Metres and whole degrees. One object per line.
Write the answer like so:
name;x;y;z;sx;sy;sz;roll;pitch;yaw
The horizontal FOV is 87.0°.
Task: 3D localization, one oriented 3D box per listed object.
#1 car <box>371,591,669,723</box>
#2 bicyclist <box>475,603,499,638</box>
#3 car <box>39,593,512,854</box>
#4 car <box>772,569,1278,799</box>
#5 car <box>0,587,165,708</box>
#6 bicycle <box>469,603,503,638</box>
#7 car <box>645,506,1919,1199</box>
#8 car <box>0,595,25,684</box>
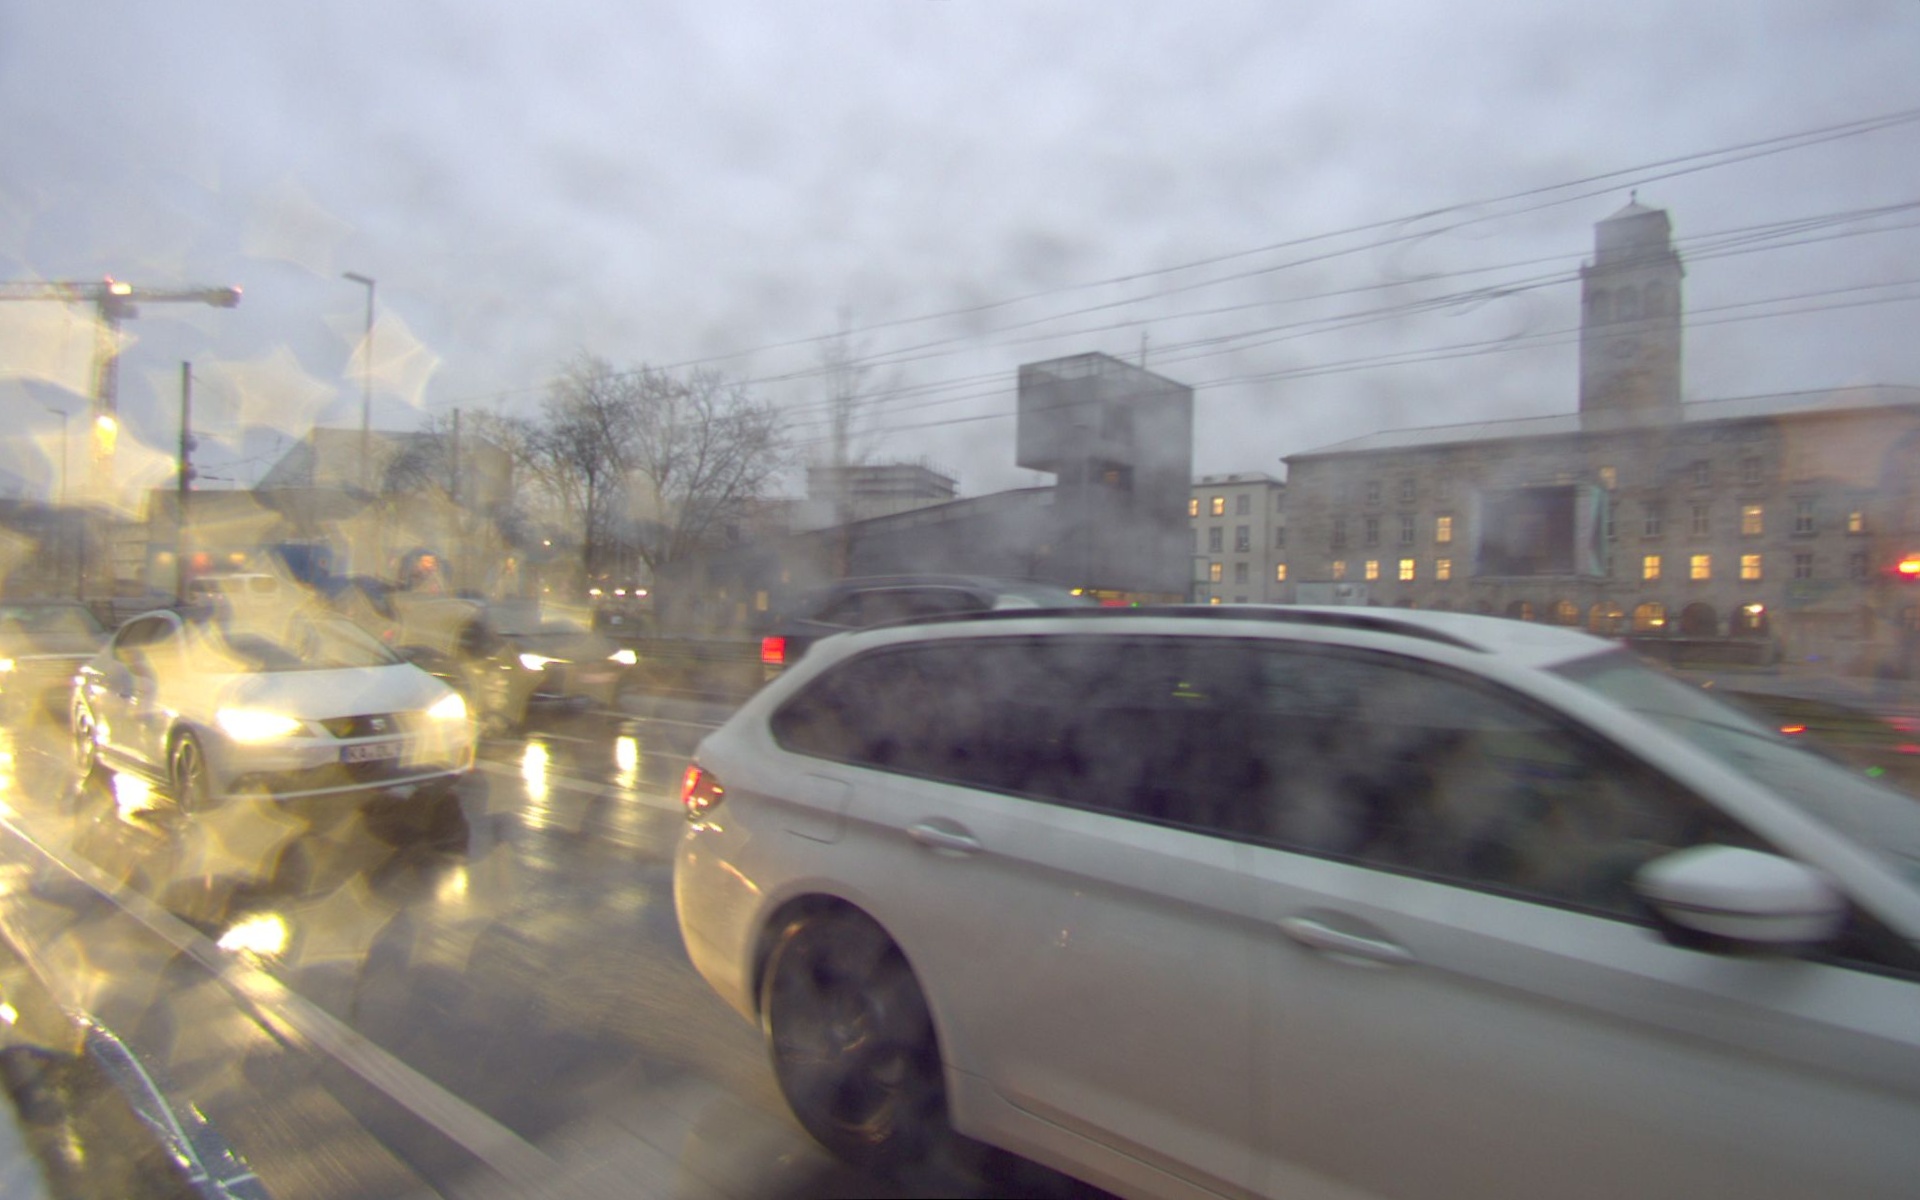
car;-6.234;0.673;14.095;4.658;1.519;1.831;1;0;38
bicyclist;-24.704;1.064;52.852;0.960;1.746;0.754;2;1;37
car;-5.589;0.700;8.031;4.501;1.498;1.925;0;1;39
car;0.423;0.568;9.187;4.288;1.596;1.946;1;0;41
car;-13.281;0.593;14.491;4.500;1.498;1.974;0;-1;38
bicycle;-24.767;1.061;52.905;2.061;1.746;0.754;2;1;38
car;1.435;0.649;2.400;4.556;1.498;1.997;0;-1;40
car;-19.213;0.698;19.073;3.997;1.586;1.883;1;1;40
